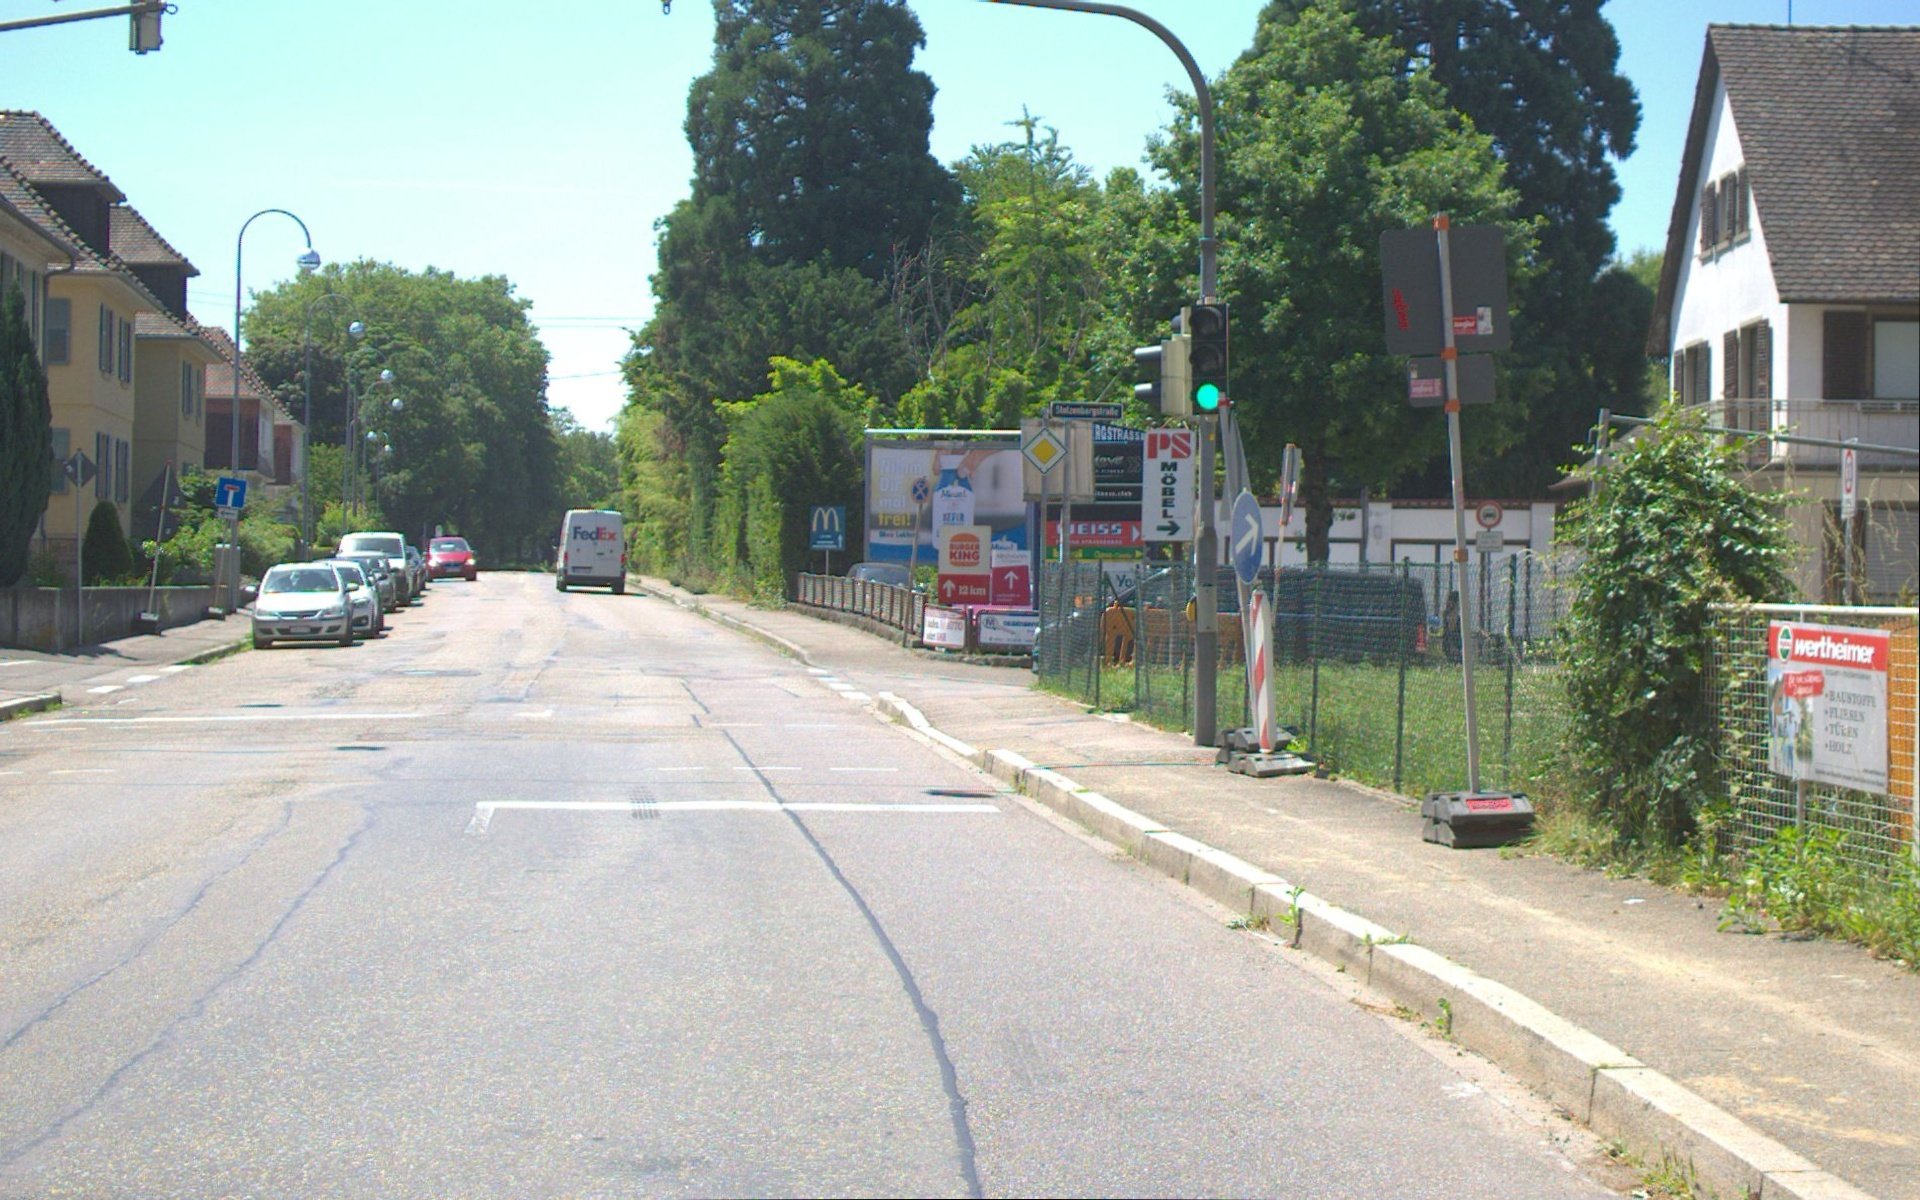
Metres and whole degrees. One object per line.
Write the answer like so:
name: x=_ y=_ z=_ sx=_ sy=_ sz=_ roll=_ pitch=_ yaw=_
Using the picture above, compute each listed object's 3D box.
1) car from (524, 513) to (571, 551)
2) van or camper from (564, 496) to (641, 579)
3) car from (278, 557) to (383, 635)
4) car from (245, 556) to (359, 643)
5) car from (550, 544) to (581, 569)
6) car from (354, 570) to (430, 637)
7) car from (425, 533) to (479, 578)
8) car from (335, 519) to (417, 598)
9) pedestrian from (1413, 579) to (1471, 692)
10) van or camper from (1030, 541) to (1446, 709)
car: x=-18.628 y=-3.063 z=155.024 sx=1.993 sy=1.656 sz=4.001 roll=1 pitch=0 yaw=-8
van or camper: x=-11.247 y=-1.947 z=107.939 sx=2.262 sy=2.519 sz=4.761 roll=0 pitch=1 yaw=-8
car: x=-11.802 y=-0.098 z=64.678 sx=1.794 sy=1.397 sz=4.220 roll=-1 pitch=1 yaw=-8
car: x=-11.387 y=-0.032 z=59.677 sx=1.759 sy=1.442 sz=3.925 roll=-1 pitch=1 yaw=-8
car: x=-26.700 y=-2.964 z=232.661 sx=1.993 sy=1.656 sz=4.001 roll=1 pitch=0 yaw=-8
car: x=-13.718 y=0.065 z=83.140 sx=1.686 sy=1.520 sz=4.063 roll=1 pitch=1 yaw=-8
car: x=-18.006 y=-1.582 z=122.006 sx=1.814 sy=1.560 sz=3.697 roll=0 pitch=1 yaw=-7
car: x=-15.188 y=-1.096 z=89.567 sx=1.877 sy=1.956 sz=4.627 roll=-1 pitch=1 yaw=-8
pedestrian: x=6.890 y=0.502 z=49.150 sx=0.695 sy=1.594 sz=0.573 roll=0 pitch=0 yaw=-7
van or camper: x=3.659 y=0.321 z=45.846 sx=5.252 sy=2.007 sz=1.909 roll=2 pitch=0 yaw=-3
